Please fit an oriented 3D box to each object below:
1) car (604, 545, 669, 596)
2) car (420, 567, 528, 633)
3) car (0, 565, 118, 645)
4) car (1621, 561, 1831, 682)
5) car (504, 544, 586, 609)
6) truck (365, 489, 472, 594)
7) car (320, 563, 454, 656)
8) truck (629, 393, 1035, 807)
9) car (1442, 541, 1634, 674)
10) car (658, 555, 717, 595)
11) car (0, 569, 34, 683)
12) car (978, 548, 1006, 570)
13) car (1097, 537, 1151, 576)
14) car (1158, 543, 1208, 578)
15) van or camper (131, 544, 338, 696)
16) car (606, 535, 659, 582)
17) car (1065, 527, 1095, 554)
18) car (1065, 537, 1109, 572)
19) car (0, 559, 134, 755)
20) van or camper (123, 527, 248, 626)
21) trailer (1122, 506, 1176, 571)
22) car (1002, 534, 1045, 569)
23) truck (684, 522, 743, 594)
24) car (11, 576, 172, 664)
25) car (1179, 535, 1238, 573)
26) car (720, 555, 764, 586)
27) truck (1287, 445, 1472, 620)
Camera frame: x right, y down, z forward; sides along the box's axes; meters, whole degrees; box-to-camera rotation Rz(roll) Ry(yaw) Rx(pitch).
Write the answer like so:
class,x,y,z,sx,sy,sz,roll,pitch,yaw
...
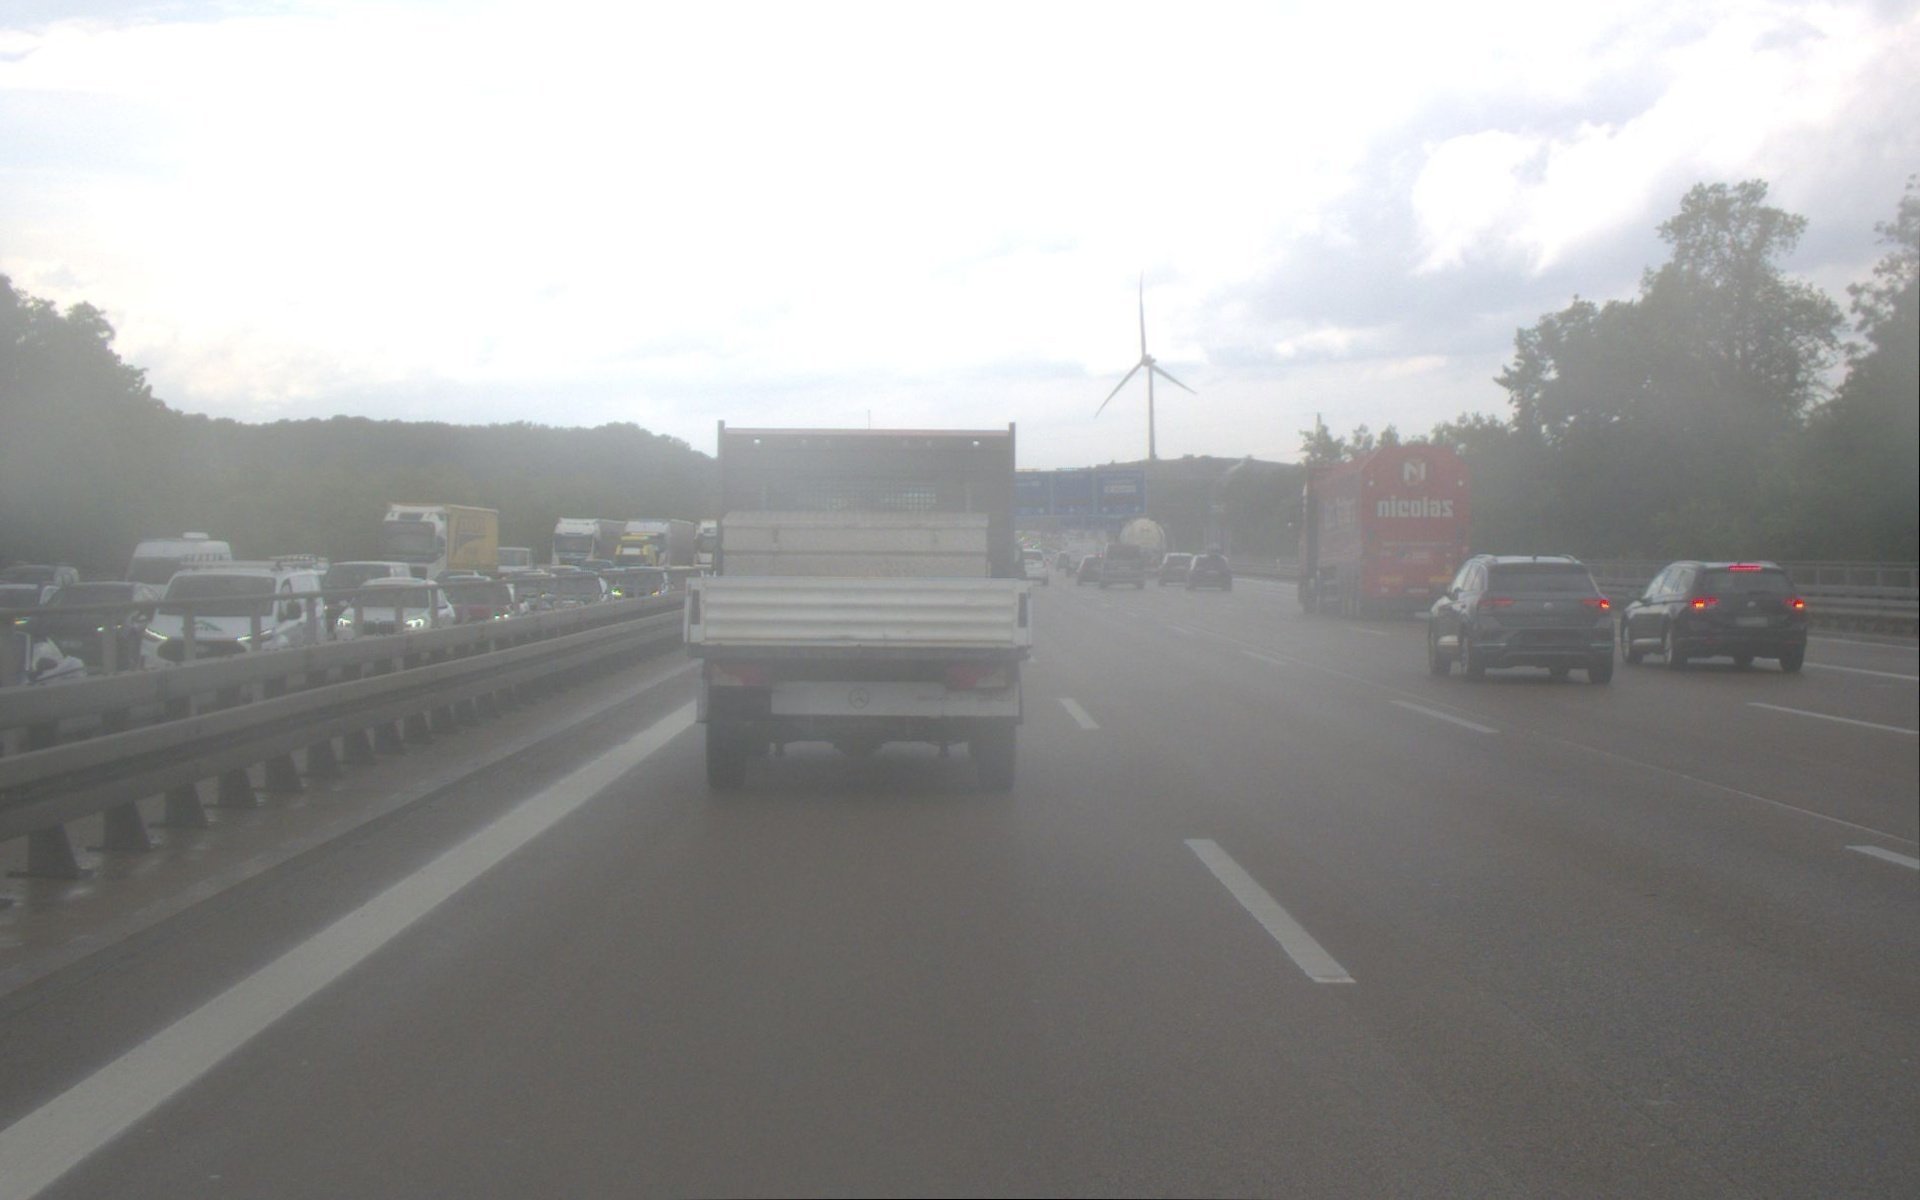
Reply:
class,x,y,z,sx,sy,sz,roll,pitch,yaw
car,-11.009,-1.025,117.093,1.867,1.664,5.174,-1,1,-2
car,-11.141,-0.030,79.160,1.873,1.387,5.366,-1,1,-2
car,-17.892,0.075,67.646,1.790,1.496,4.000,-1,1,-2
car,10.391,0.261,46.912,1.815,1.538,4.358,0,1,-1
car,-12.129,-0.707,100.702,1.865,1.820,5.710,-1,1,-2
truck,-22.521,-2.442,143.330,3.247,4.235,6.882,-1,1,1
car,-11.011,0.149,66.342,1.825,1.669,5.358,-1,1,-2
truck,-0.816,-0.069,23.874,2.353,2.400,7.359,1,1,-1
car,7.077,0.067,42.402,1.792,1.557,3.722,0,1,1
car,-10.404,-0.981,131.412,1.994,1.458,4.842,-1,1,-2
car,-14.721,0.386,49.739,1.676,1.630,4.000,-1,1,-2
car,2.146,-2.811,234.547,1.812,1.441,4.000,-1,1,-1
car,7.204,-1.917,151.486,2.097,1.693,4.000,0,1,-1
car,11.007,-1.984,169.878,2.045,1.693,5.007,0,1,-1
van or camper,-10.524,0.226,50.278,1.983,2.061,5.644,-1,1,-2
car,-17.845,-2.264,187.662,2.156,2.496,6.773,-1,1,1
car,7.990,-3.977,229.244,1.993,1.733,4.000,1,1,2
car,6.307,-2.289,171.502,2.045,1.693,4.000,0,1,0
car,-10.434,0.559,37.099,1.948,1.942,4.725,-1,1,-1
van or camper,-22.475,-0.727,100.090,2.201,2.756,7.232,-1,1,-2
trailer,12.447,-4.070,227.553,3.333,4.161,11.837,1,1,2
car,3.114,-2.393,168.816,1.972,1.693,4.000,0,1,-1
truck,-14.630,-2.512,204.671,2.880,4.166,7.557,-1,1,1
car,-15.205,0.320,60.429,1.676,1.404,5.016,-1,1,-2
car,10.627,-1.993,147.383,2.105,1.600,5.066,0,1,-1
car,-9.985,-1.366,157.621,1.762,1.378,4.821,-1,1,-1
truck,10.300,-1.689,86.194,3.152,3.989,15.636,0,1,2
